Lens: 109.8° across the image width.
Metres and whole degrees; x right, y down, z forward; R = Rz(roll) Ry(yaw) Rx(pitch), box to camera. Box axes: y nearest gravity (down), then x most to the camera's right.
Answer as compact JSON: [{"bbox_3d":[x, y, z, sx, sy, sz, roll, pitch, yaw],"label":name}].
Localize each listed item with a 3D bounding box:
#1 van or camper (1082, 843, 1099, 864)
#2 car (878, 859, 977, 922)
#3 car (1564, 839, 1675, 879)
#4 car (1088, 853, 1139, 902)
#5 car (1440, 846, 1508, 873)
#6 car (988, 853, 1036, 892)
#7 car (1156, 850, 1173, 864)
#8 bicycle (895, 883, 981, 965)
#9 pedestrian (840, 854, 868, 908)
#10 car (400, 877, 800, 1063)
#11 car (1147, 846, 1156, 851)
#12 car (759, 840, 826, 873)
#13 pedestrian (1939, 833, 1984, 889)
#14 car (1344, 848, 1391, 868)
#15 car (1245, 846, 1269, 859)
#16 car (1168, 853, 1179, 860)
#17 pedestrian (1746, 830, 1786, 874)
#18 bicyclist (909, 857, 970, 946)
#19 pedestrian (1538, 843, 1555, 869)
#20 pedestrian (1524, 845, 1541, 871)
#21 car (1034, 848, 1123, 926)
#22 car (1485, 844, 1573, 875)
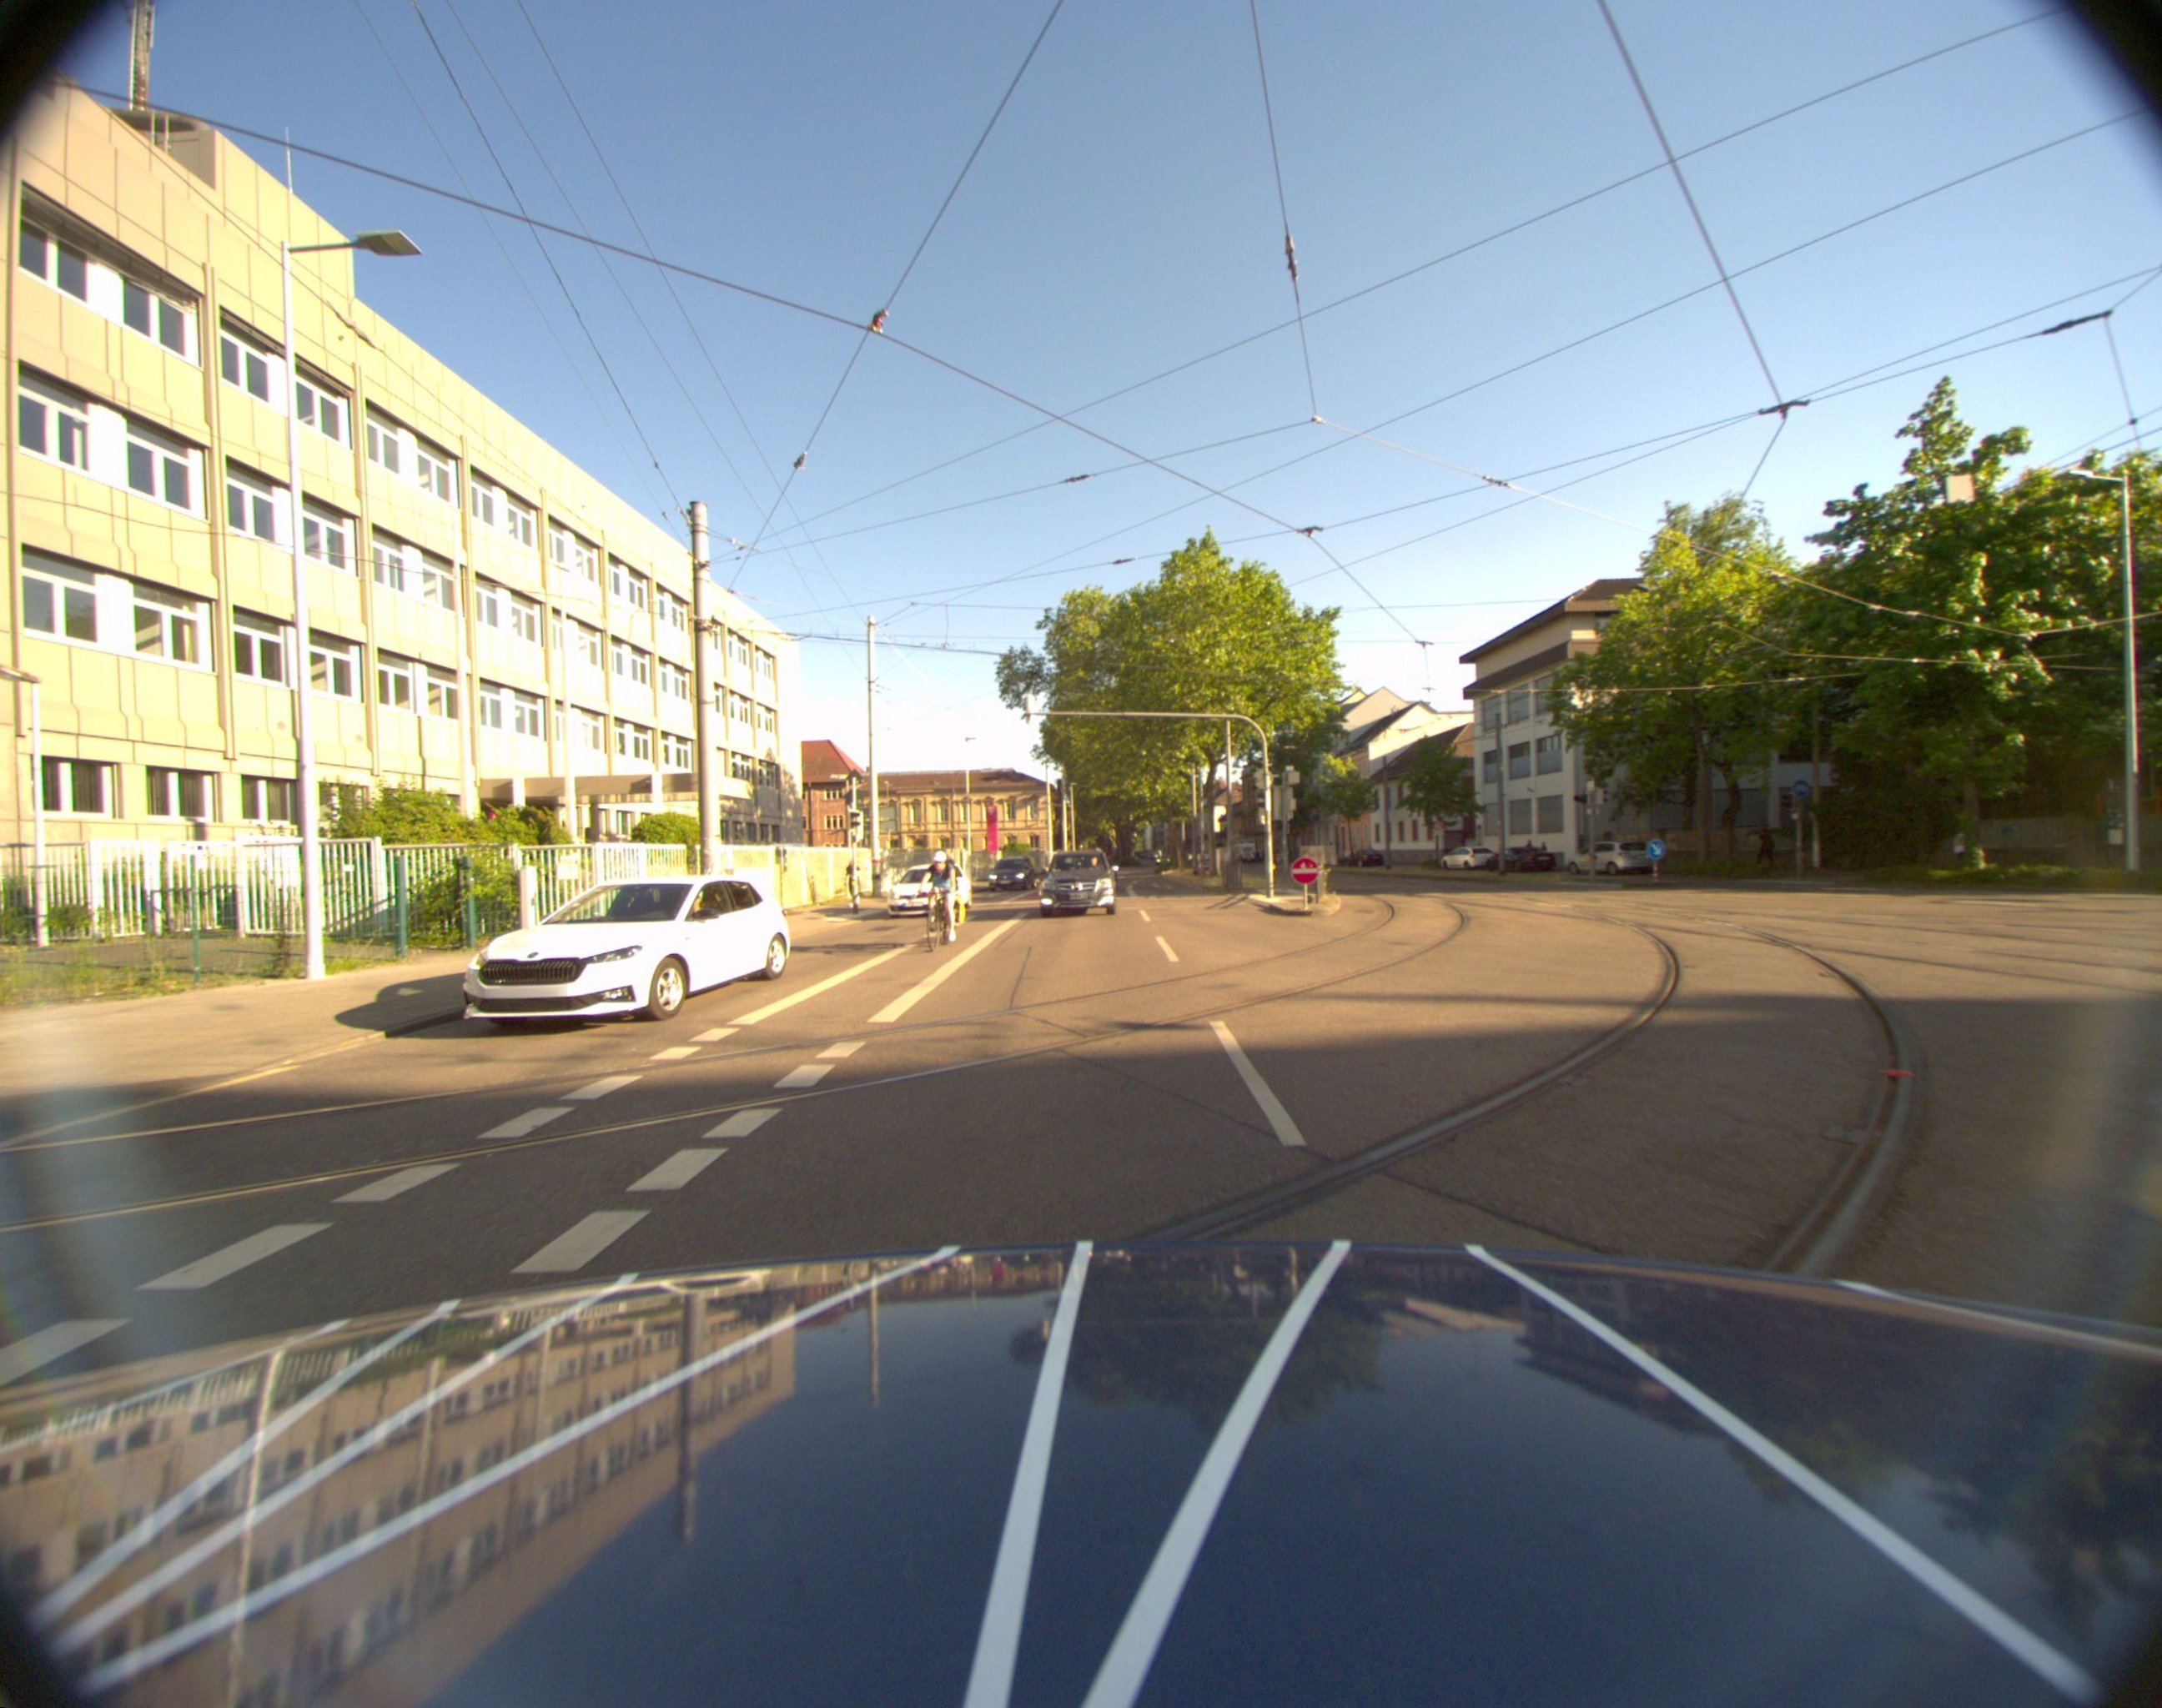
[{"bbox_3d":[1.214,-0.070,96.761,1.998,2.578,5.626,-3,1,1],"label":"van or camper"},{"bbox_3d":[-4.409,0.998,22.464,1.793,1.493,4.301,-4,0,2],"label":"car"},{"bbox_3d":[24.913,0.226,35.382,2.087,1.610,4.097,-4,0,-2],"label":"car"},{"bbox_3d":[1.267,0.874,30.469,1.793,1.694,4.301,-4,0,1],"label":"car"},{"bbox_3d":[24.710,0.320,47.936,2.087,1.481,3.996,-4,0,-2],"label":"car"},{"bbox_3d":[-3.344,0.856,37.546,1.793,1.634,4.301,-4,0,1],"label":"car"},{"bbox_3d":[11.995,0.416,109.781,1.998,1.761,4.000,-3,1,1],"label":"car"},{"bbox_3d":[-2.343,1.124,12.793,0.764,1.137,2.307,-1,0,6],"label":"bicycle"},{"bbox_3d":[-7.608,0.888,25.522,0.592,1.752,0.770,-1,1,6],"label":"pedestrian"},{"bbox_3d":[-4.873,1.060,8.528,1.705,1.381,4.075,-3,0,2],"label":"car"},{"bbox_3d":[23.693,-1.755,255.384,2.087,1.531,4.126,-4,0,-2],"label":"car"},{"bbox_3d":[-16.885,0.132,44.787,1.998,1.832,4.785,-1,0,1],"label":"car"},{"bbox_3d":[27.054,0.203,23.363,0.569,1.655,0.631,-4,1,-1],"label":"pedestrian"},{"bbox_3d":[24.399,0.335,64.857,2.087,1.462,4.578,-4,0,-2],"label":"car"},{"bbox_3d":[24.502,-0.204,106.106,2.087,1.664,4.532,-4,0,-2],"label":"car"},{"bbox_3d":[23.510,0.668,192.727,2.087,1.531,4.119,-4,0,-2],"label":"car"},{"bbox_3d":[28.222,-0.083,31.324,0.736,1.742,1.019,-1,1,-1],"label":"pedestrian"},{"bbox_3d":[-2.361,0.777,12.773,0.727,1.414,0.859,-3,1,6],"label":"bicyclist"},{"bbox_3d":[28.014,0.127,45.754,0.537,1.519,0.711,-1,1,0],"label":"pedestrian"},{"bbox_3d":[27.128,0.243,45.659,0.537,1.519,0.711,-2,1,-6],"label":"pedestrian"},{"bbox_3d":[0.018,0.729,19.513,1.908,1.634,4.517,-4,0,2],"label":"car"},{"bbox_3d":[24.725,0.276,42.168,2.087,1.493,4.456,-4,0,-2],"label":"car"}]
